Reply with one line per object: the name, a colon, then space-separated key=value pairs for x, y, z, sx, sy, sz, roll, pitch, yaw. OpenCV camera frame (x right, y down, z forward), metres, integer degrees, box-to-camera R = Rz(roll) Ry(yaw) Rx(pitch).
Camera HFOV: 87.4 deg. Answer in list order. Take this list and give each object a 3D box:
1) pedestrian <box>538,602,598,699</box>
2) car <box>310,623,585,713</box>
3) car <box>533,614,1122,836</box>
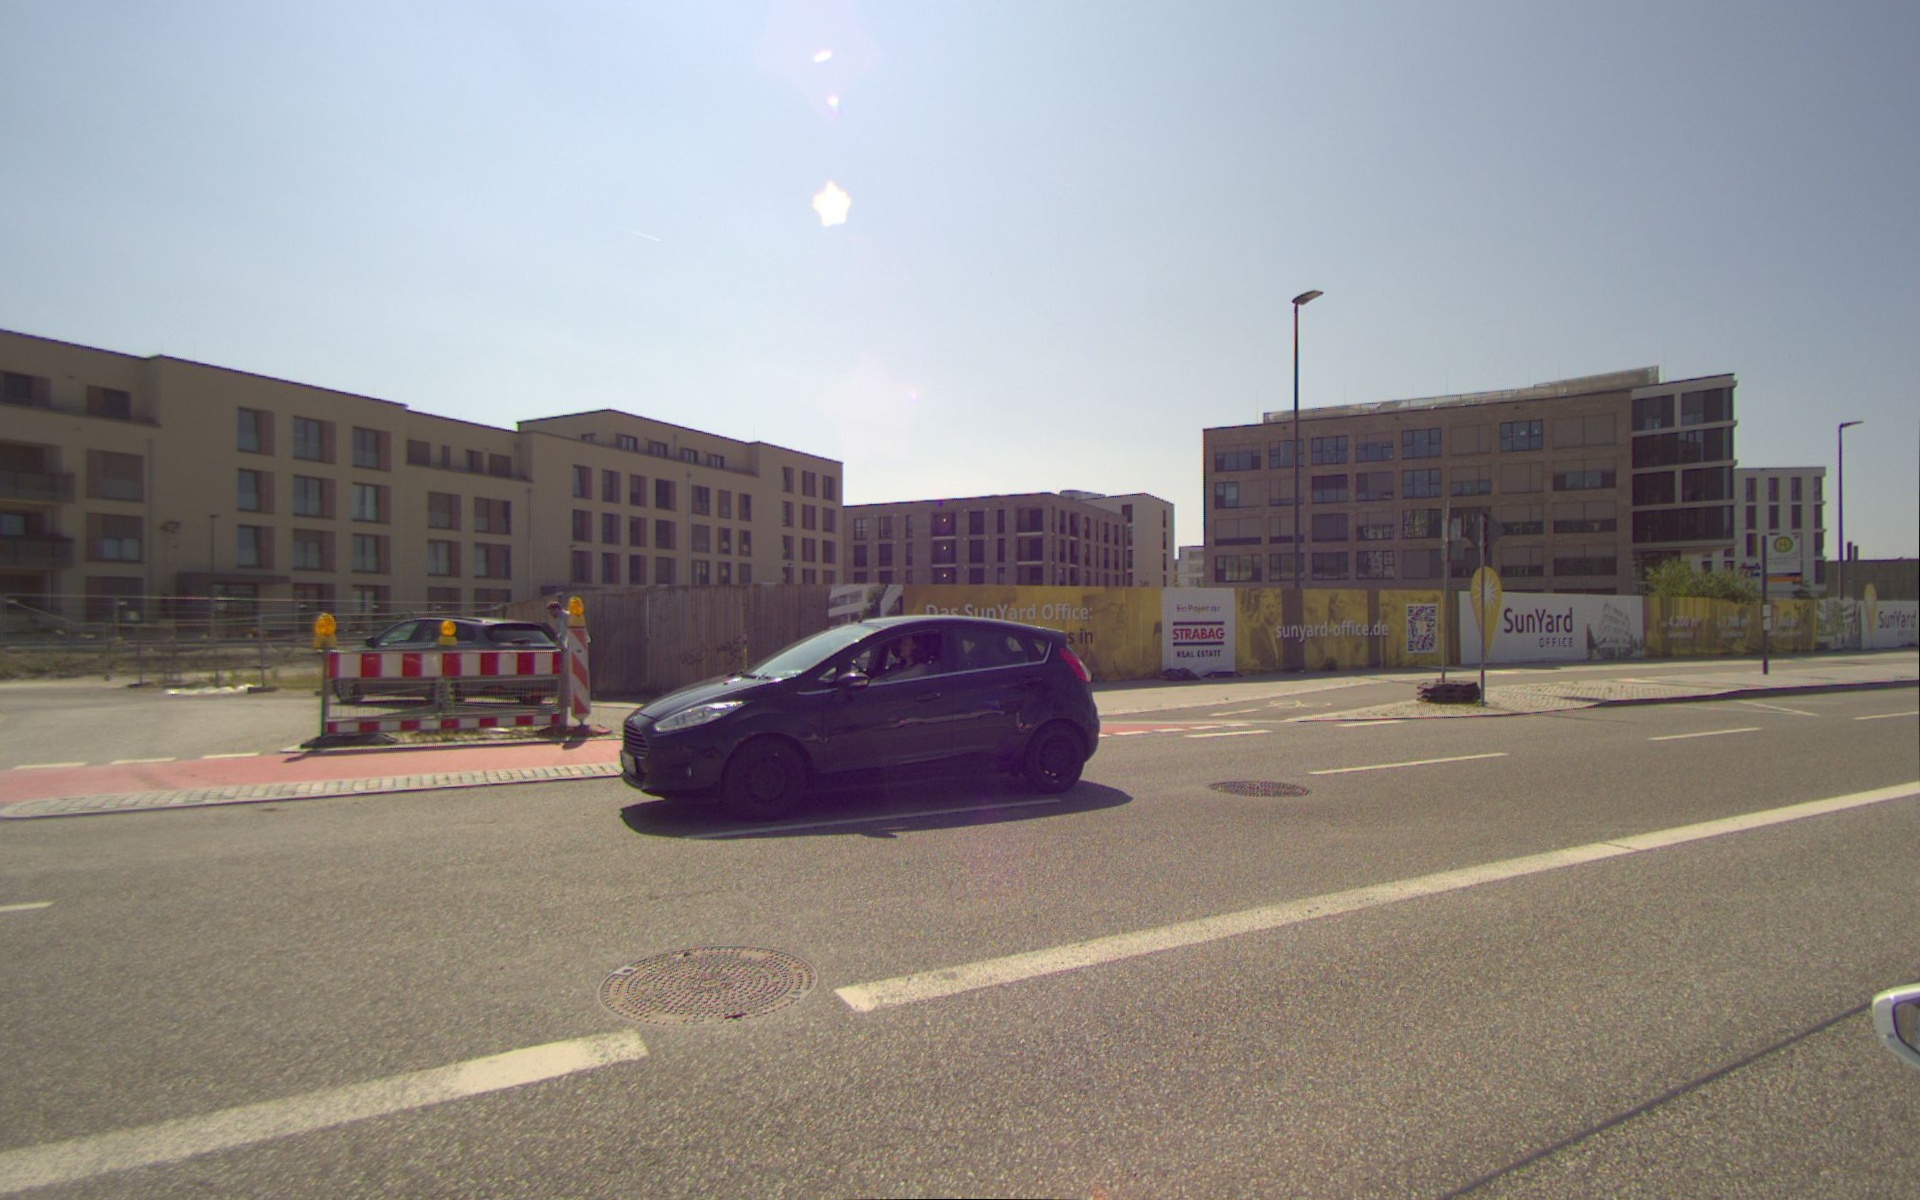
pedestrian: x=-7.051 y=0.893 z=18.097 sx=0.741 sy=1.706 sz=0.687 roll=1 pitch=0 yaw=6
car: x=-8.612 y=1.089 z=16.876 sx=4.168 sy=1.335 sz=1.998 roll=-1 pitch=-1 yaw=26
car: x=-0.958 y=0.822 z=8.075 sx=4.403 sy=1.370 sz=1.696 roll=1 pitch=-2 yaw=-30
